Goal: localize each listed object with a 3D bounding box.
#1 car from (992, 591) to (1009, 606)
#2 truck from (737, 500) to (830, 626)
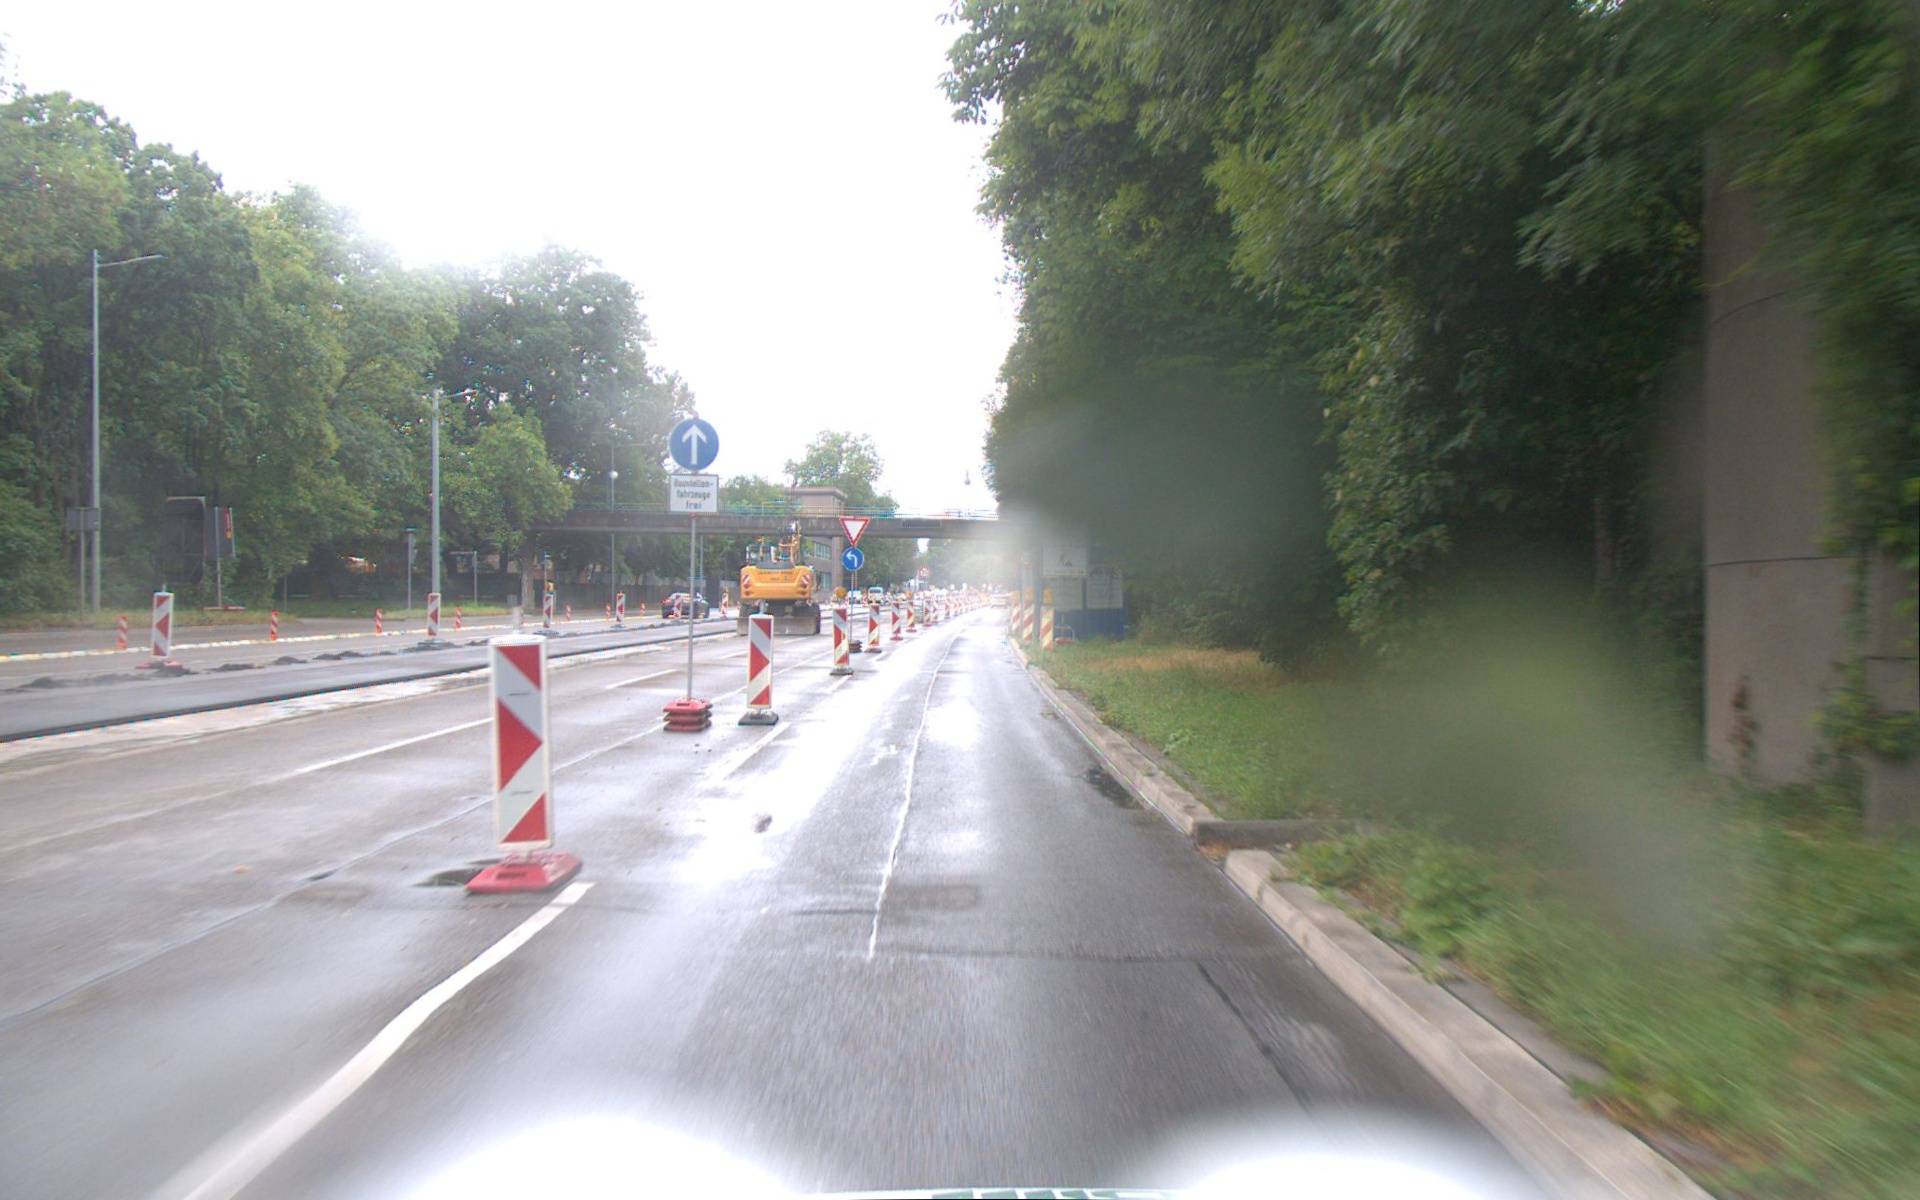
[{"bbox_3d":[4.505,-0.200,183.303,1.952,1.668,4.001,0,0,2],"label":"car"},{"bbox_3d":[-6.603,-1.330,63.189,2.840,4.333,10.749,1,0,-3],"label":"truck"}]
